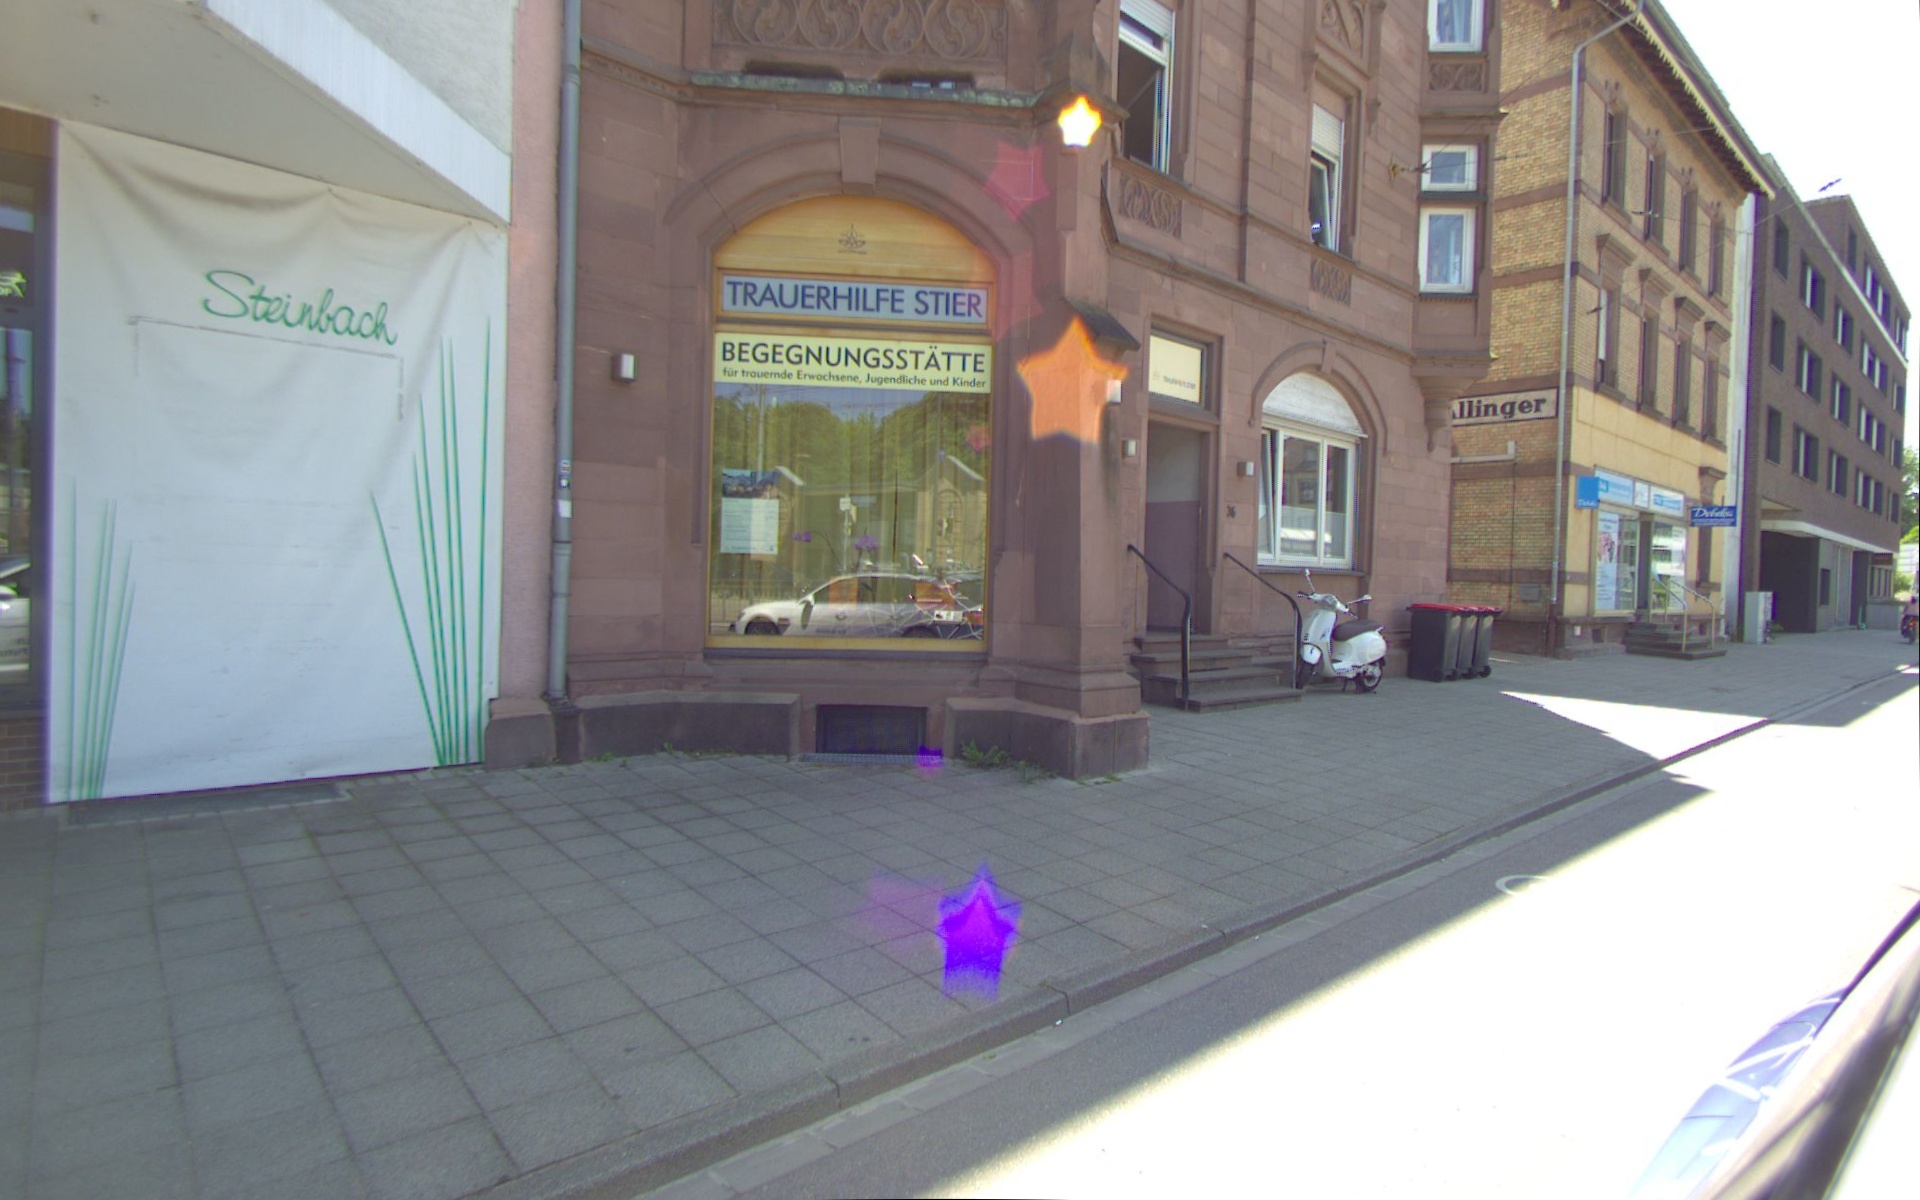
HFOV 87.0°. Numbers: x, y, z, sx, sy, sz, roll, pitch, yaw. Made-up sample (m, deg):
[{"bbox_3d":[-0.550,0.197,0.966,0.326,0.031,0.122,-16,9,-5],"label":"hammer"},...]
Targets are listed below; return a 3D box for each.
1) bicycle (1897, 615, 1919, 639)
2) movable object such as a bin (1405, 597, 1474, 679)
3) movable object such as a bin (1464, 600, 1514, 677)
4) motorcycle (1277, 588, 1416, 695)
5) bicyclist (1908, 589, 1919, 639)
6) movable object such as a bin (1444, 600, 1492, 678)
[{"bbox_3d":[34.055,0.955,35.752,1.868,0.807,0.691,1,1,-24],"label":"bicycle"},{"bbox_3d":[6.686,0.518,14.108,0.549,1.061,0.649,0,4,-42],"label":"movable object such as a bin"},{"bbox_3d":[7.684,0.545,14.708,0.646,1.061,0.376,0,4,-42],"label":"movable object such as a bin"},{"bbox_3d":[4.550,0.456,11.866,1.843,1.163,0.529,1,1,-33],"label":"motorcycle"},{"bbox_3d":[34.259,0.494,35.829,0.909,1.744,0.673,1,1,-23],"label":"bicyclist"},{"bbox_3d":[7.212,0.544,14.365,0.549,1.061,0.376,0,4,-42],"label":"movable object such as a bin"}]
